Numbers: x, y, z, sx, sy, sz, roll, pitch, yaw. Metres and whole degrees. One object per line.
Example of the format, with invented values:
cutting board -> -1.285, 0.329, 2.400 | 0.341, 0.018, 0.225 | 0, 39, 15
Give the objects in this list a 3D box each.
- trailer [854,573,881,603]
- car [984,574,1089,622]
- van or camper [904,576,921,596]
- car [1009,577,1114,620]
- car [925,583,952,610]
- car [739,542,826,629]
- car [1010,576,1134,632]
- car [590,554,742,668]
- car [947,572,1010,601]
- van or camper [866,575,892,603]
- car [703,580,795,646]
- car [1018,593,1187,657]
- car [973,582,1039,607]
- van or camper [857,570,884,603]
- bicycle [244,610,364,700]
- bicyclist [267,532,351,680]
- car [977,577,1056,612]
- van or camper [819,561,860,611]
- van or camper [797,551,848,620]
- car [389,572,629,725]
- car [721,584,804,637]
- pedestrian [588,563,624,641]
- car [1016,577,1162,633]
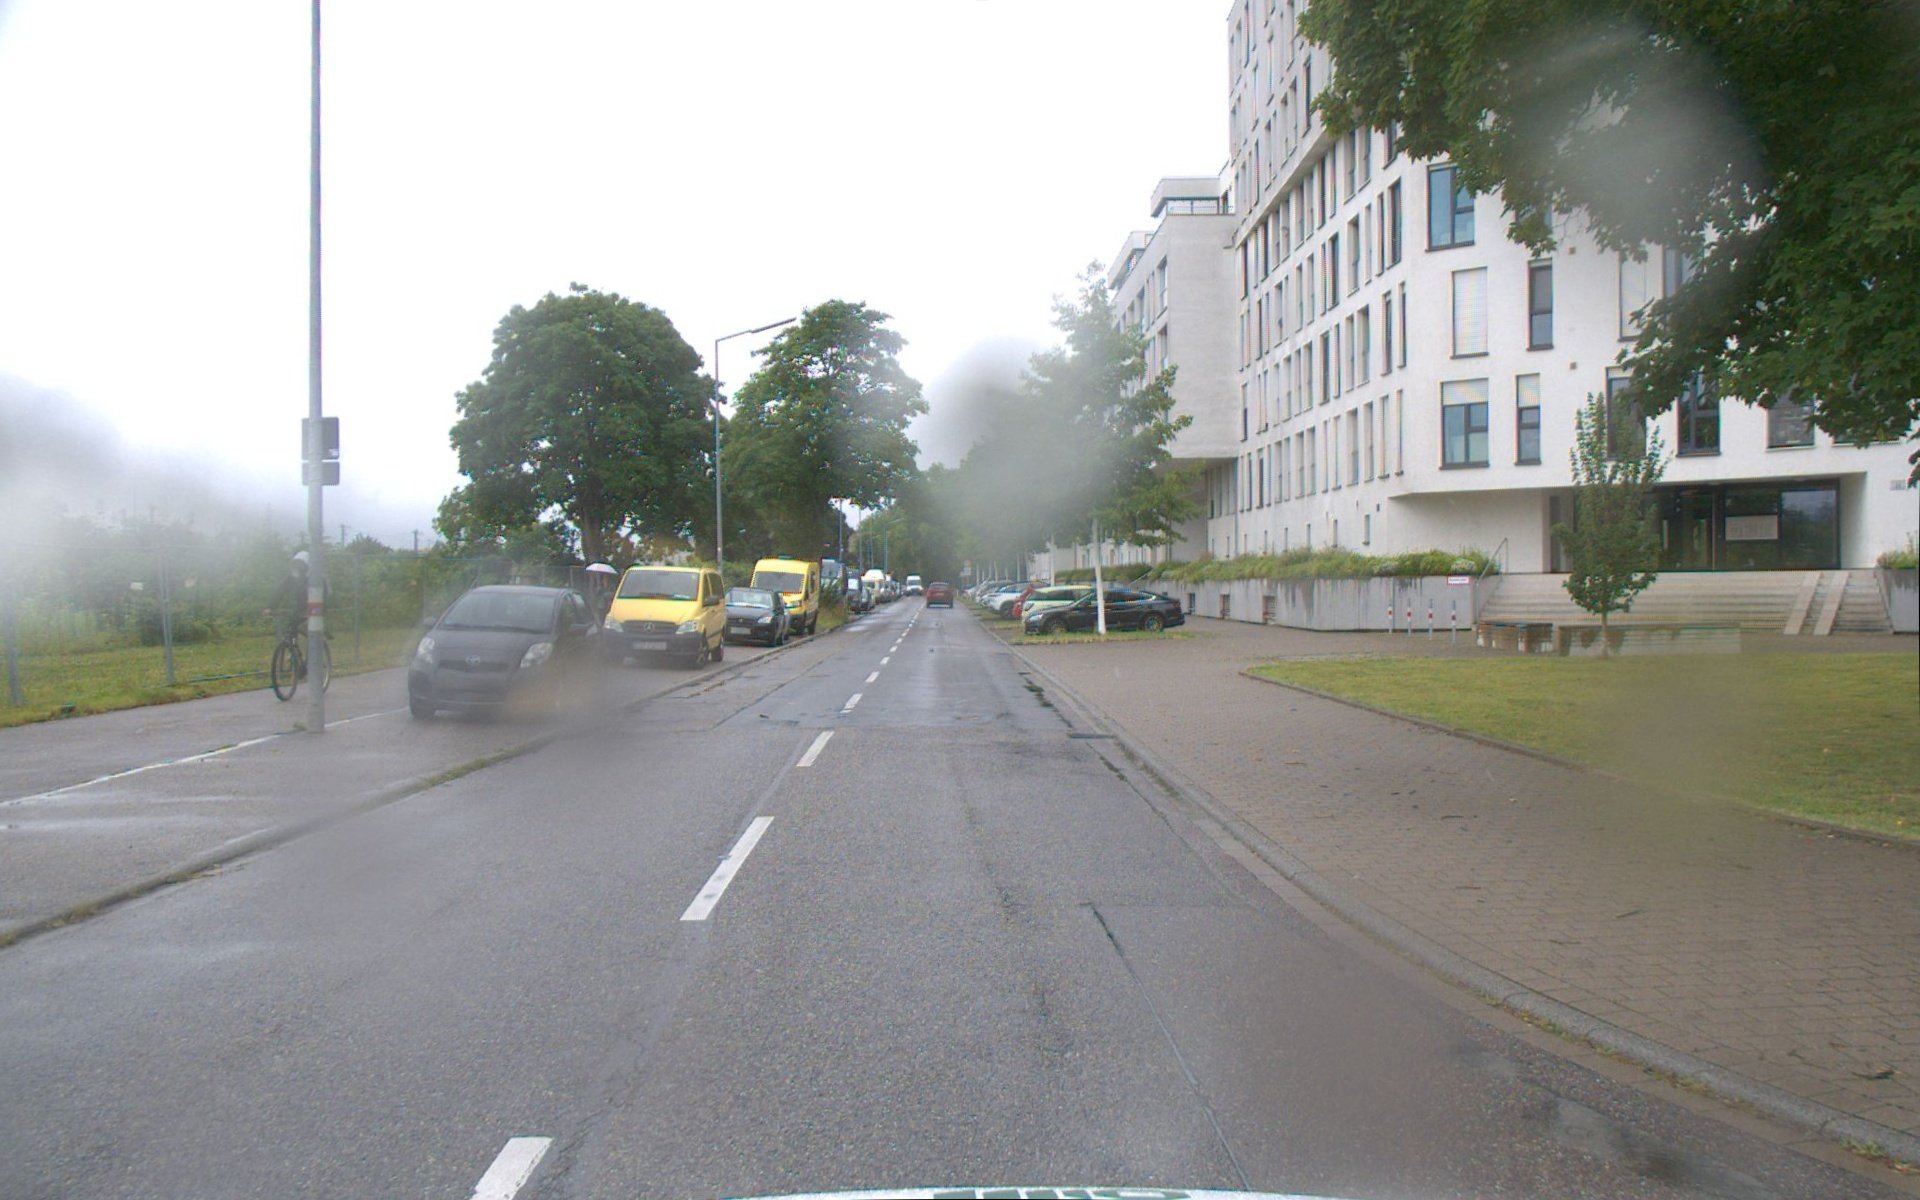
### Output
trailer -> -7.329, -0.955, 131.259 | 2.017, 2.256, 5.792 | 1, 0, -2
car -> 3.447, -0.100, 75.134 | 4.451, 1.714, 1.884 | -6, 0, -4
van or camper -> -6.121, -1.804, 213.806 | 1.953, 2.541, 7.178 | -1, 0, 0
car -> 3.948, -0.050, 64.960 | 3.907, 1.477, 1.820 | -3, -1, -2
car -> -1.432, -0.218, 111.433 | 1.720, 1.736, 3.999 | 0, 0, 0
car -> -5.994, -0.482, 56.653 | 2.146, 2.741, 6.082 | 2, 0, 1
car -> 3.693, 0.123, 54.858 | 3.906, 1.582, 1.635 | -3, 0, -1
car -> -5.662, 0.182, 32.652 | 1.976, 1.990, 6.064 | 1, 0, -1
car -> 1.364, -0.978, 121.928 | 4.528, 2.054, 1.857 | -1, 2, -5
van or camper -> -7.714, -1.046, 157.965 | 2.144, 2.504, 6.376 | 1, 0, -1
car -> -5.662, 0.332, 44.951 | 1.953, 1.622, 5.015 | 2, 0, -2
car -> 3.955, 0.689, 46.415 | 4.479, 1.523, 1.825 | -3, 0, -2
car -> 3.028, -0.355, 109.174 | 4.213, 1.453, 1.636 | -2, 0, -3
van or camper -> -7.792, -1.140, 145.159 | 1.953, 2.810, 7.897 | 1, 0, -1
bicycle -> -8.438, 0.681, 21.376 | 0.701, 1.060, 2.144 | 0, 1, 0
bicyclist -> -8.435, 0.069, 21.458 | 0.684, 1.861, 1.008 | 0, 1, -1
car -> 3.271, -0.333, 96.846 | 4.387, 1.716, 1.935 | -4, 1, -3
van or camper -> -7.000, -0.765, 96.895 | 2.052, 2.763, 7.570 | 2, 0, -2
van or camper -> -6.711, -0.690, 81.041 | 2.052, 3.148, 6.421 | 2, 0, -2
car -> -5.309, 0.497, 19.993 | 1.767, 1.588, 4.032 | 2, 1, -1
car -> -5.935, 0.297, 50.281 | 1.970, 1.459, 5.338 | 2, 0, -1
pedestrian -> -9.424, 0.040, 44.034 | 0.727, 2.049, 0.980 | 0, 0, 0
car -> 4.046, 0.138, 52.201 | 4.397, 1.507, 1.692 | -3, 0, -1
